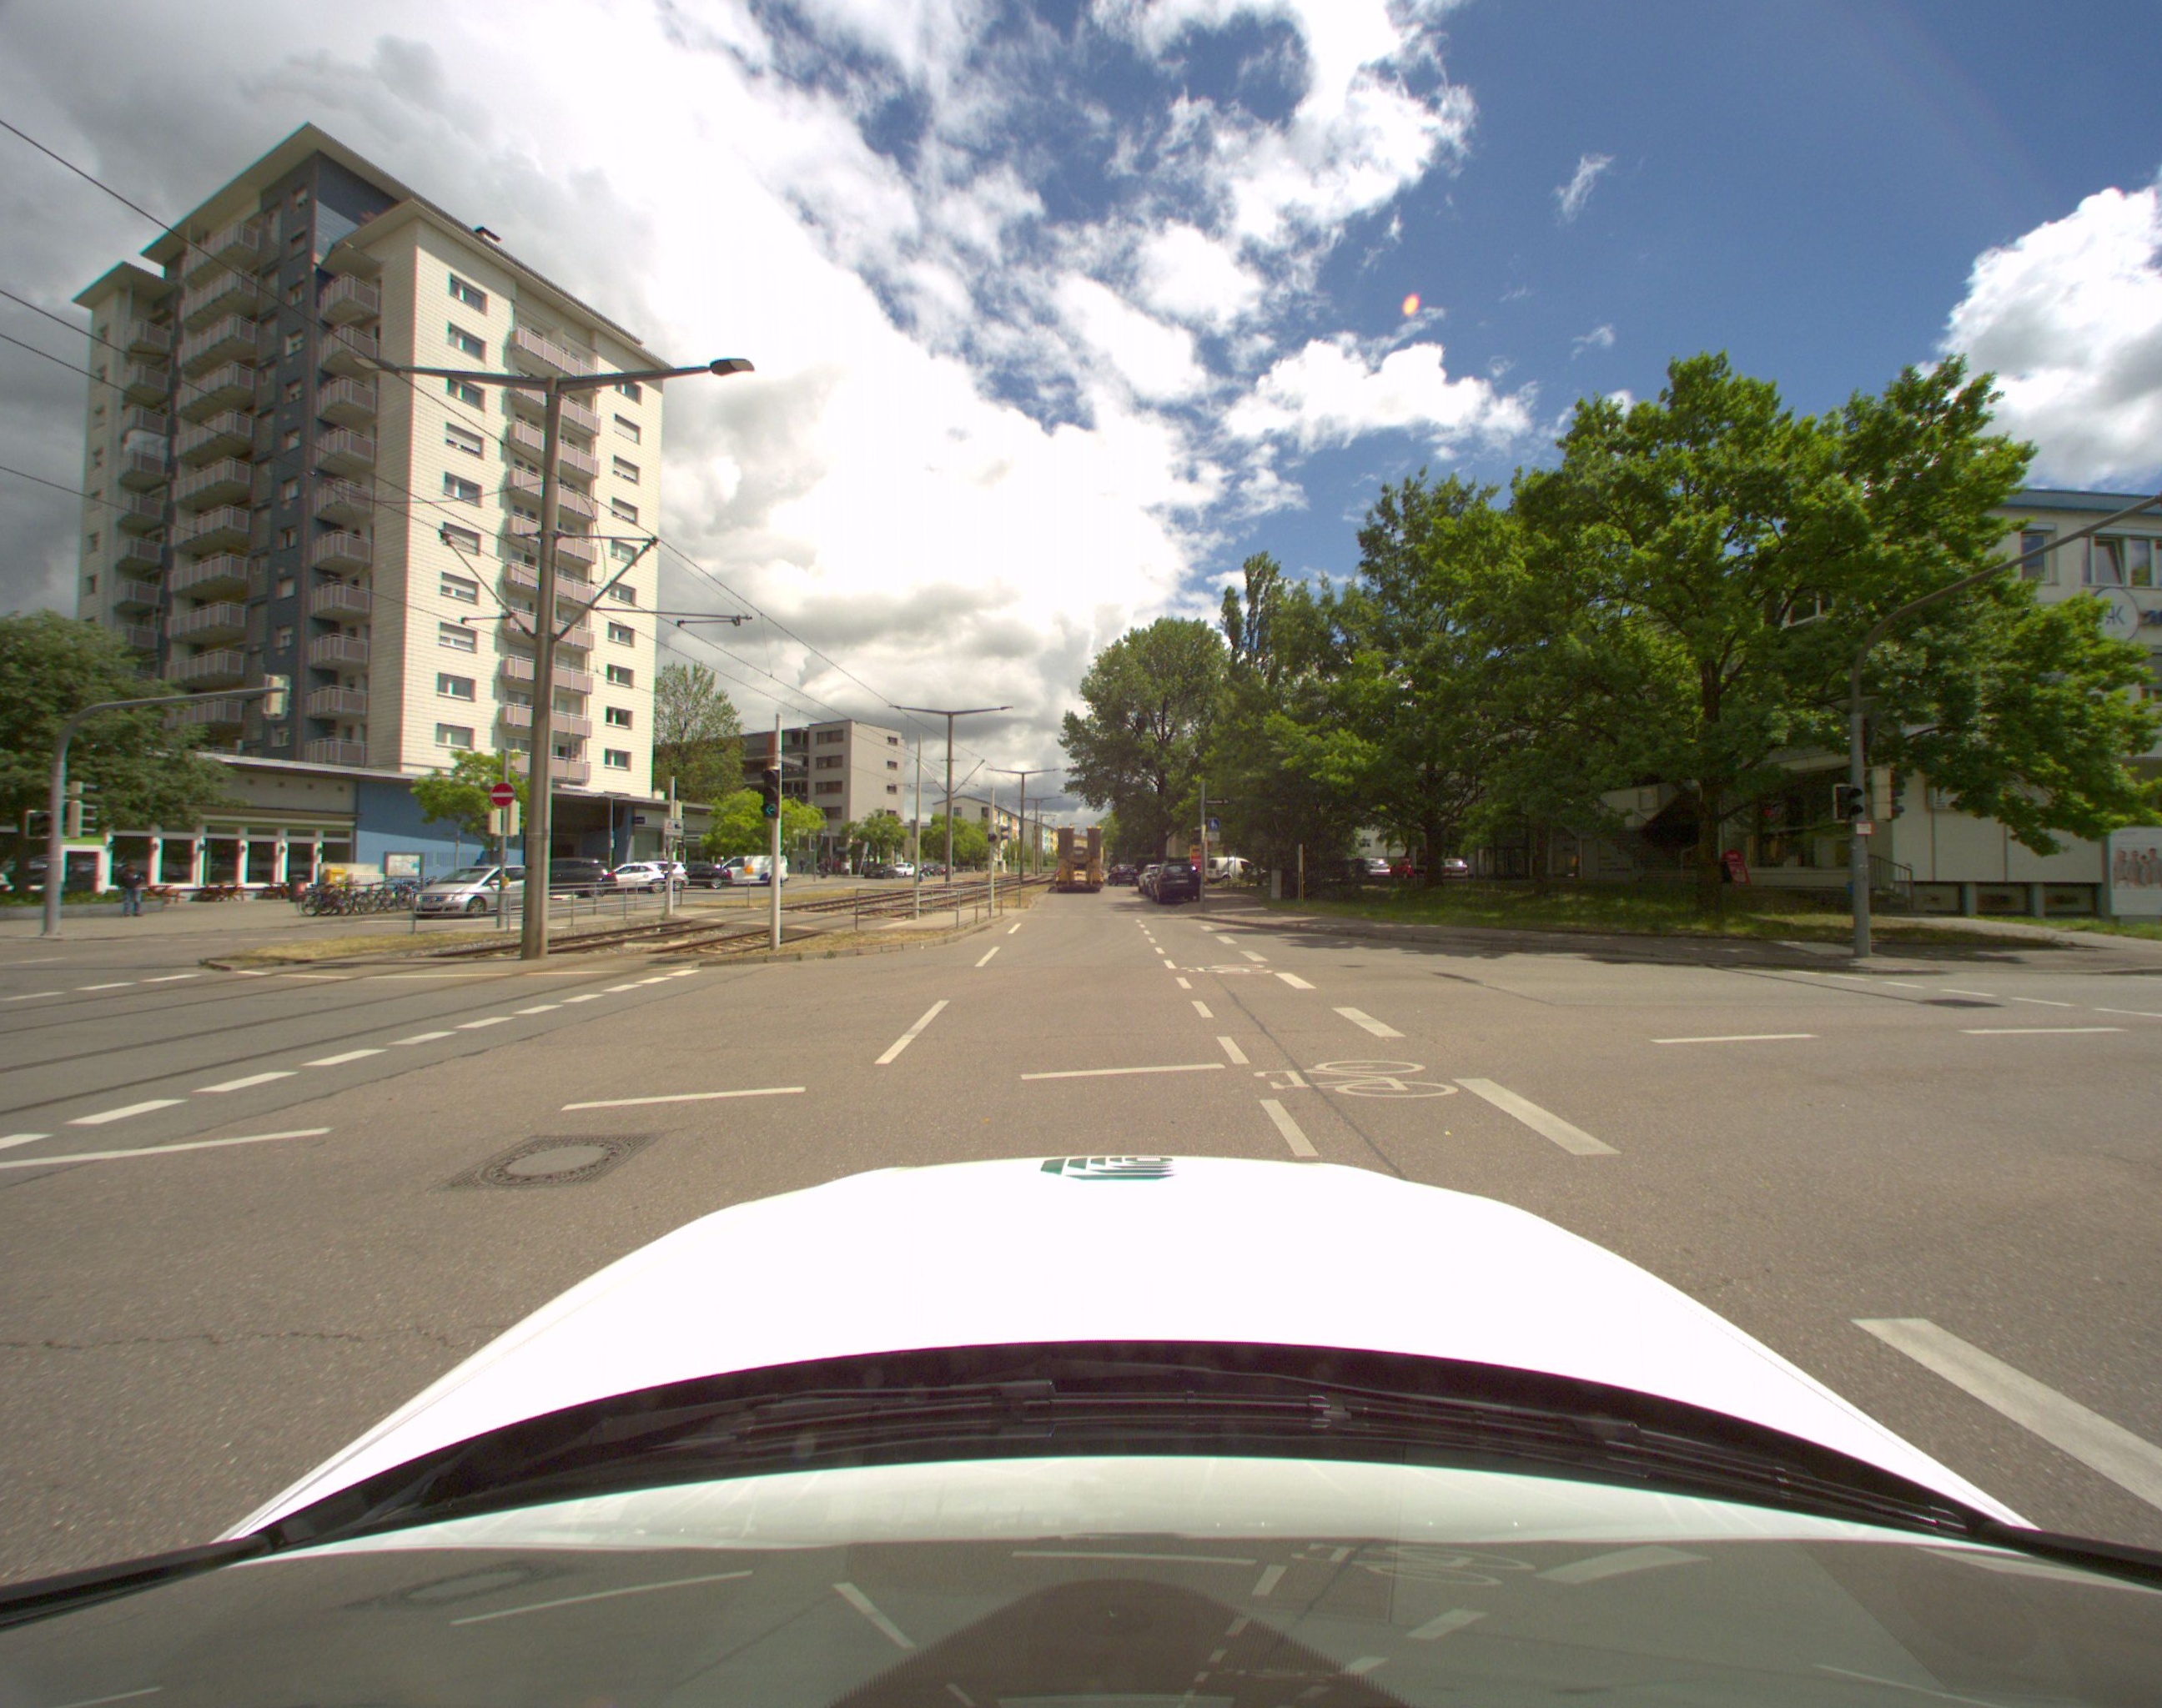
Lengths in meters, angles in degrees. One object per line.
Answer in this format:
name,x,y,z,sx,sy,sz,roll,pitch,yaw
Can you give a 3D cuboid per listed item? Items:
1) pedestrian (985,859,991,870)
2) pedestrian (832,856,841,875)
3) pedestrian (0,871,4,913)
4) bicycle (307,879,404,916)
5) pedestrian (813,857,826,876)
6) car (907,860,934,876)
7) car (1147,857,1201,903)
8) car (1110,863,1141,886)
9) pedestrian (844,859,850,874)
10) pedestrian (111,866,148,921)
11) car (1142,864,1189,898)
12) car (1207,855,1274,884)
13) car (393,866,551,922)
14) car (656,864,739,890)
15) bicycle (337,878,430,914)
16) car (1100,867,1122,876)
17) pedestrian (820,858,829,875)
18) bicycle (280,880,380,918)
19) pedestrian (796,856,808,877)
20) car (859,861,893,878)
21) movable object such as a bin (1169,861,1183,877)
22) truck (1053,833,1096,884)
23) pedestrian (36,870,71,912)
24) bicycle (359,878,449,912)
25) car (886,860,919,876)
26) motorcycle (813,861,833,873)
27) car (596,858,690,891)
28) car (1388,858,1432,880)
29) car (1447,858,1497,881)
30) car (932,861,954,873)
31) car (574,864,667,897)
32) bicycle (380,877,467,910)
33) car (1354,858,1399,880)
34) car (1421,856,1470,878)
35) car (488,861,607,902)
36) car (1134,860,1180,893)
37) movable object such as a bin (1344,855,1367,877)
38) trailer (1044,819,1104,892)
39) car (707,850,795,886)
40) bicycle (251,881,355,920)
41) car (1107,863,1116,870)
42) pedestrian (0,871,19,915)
pedestrian,-14.117,1.665,123.983,0.746,1.661,0.871,-1,0,6
pedestrian,-22.813,1.078,76.023,0.609,1.792,0.844,-1,0,1
pedestrian,-38.542,1.362,28.787,0.565,1.472,0.529,-1,0,32
bicycle,-22.493,1.351,25.278,2.417,1.066,0.705,-1,0,3
pedestrian,-23.250,1.075,72.412,0.834,1.650,0.616,0,0,18
car,-17.043,1.454,86.755,1.987,1.662,4.099,1,0,0
car,3.809,1.028,34.014,1.639,1.762,4.568,-1,0,-1
car,3.028,1.397,56.348,1.810,1.449,3.824,-1,0,-2
pedestrian,-24.174,1.278,84.210,0.500,1.460,0.556,-1,0,-26
pedestrian,-28.908,1.180,24.749,0.415,1.643,0.601,-1,0,0
car,3.947,1.249,38.513,1.639,1.458,4.073,-1,0,-2
car,10.616,1.015,54.168,4.002,1.823,1.797,-1,0,-22
car,-18.801,1.187,25.373,1.809,1.533,3.761,-1,0,6
car,-22.171,1.313,47.154,4.020,1.383,1.884,-1,0,-40
bicycle,-22.441,1.349,26.217,2.417,1.066,0.705,-1,0,3
car,5.591,3.273,151.589,3.572,1.584,2.007,-1,-2,14
pedestrian,-24.038,1.167,76.286,0.667,1.573,0.683,-1,0,-26
bicycle,-22.559,1.352,24.481,2.417,1.066,0.705,-1,0,3
pedestrian,-24.875,1.109,72.611,0.846,1.792,0.865,-1,0,-31
car,-18.704,1.380,74.494,1.726,1.428,4.386,1,0,5
movable object such as a bin,8.460,1.340,72.490,1.094,1.439,0.761,-1,0,-1
truck,-0.422,0.299,57.681,2.824,3.330,7.983,-1,0,0
pedestrian,-37.052,1.339,29.373,0.522,1.472,0.573,-1,0,6
bicycle,-22.386,1.348,26.946,2.417,1.066,0.705,-1,0,3
car,-17.973,1.397,82.200,1.744,1.475,4.409,-1,0,7
motorcycle,-27.077,1.392,85.516,1.886,1.178,0.741,-1,0,-1
car,-23.116,1.039,43.064,4.023,1.632,1.883,-1,0,-44
car,23.057,1.009,57.250,1.735,1.443,4.004,-1,0,4
car,27.795,1.057,58.042,1.737,1.529,4.001,-1,0,1
car,-17.001,1.574,100.535,1.604,1.426,3.431,-1,0,8
car,-22.749,1.270,40.294,3.784,1.496,1.727,-1,0,-38
bicycle,-22.371,1.347,27.720,2.417,1.066,0.705,-1,0,3
car,20.680,1.023,57.211,1.932,1.490,4.004,-1,0,4
car,25.411,0.880,56.879,1.737,1.470,4.001,-1,0,1
car,-23.016,1.130,35.207,4.023,1.591,1.909,-1,0,-45
car,3.999,1.157,43.263,1.780,1.565,4.564,-1,0,-3
movable object such as a bin,18.430,0.794,54.742,1.112,1.430,1.285,-1,0,-1
trailer,-0.355,0.081,48.197,3.041,3.772,11.610,-1,0,0
car,-20.827,0.863,51.479,4.786,2.156,1.884,-1,0,-40
bicycle,-22.621,1.354,23.699,2.417,1.066,0.705,-1,0,3
car,6.384,2.611,170.237,1.986,1.387,4.002,-1,0,2
pedestrian,-37.300,1.343,28.109,0.522,1.472,0.573,-1,0,6
